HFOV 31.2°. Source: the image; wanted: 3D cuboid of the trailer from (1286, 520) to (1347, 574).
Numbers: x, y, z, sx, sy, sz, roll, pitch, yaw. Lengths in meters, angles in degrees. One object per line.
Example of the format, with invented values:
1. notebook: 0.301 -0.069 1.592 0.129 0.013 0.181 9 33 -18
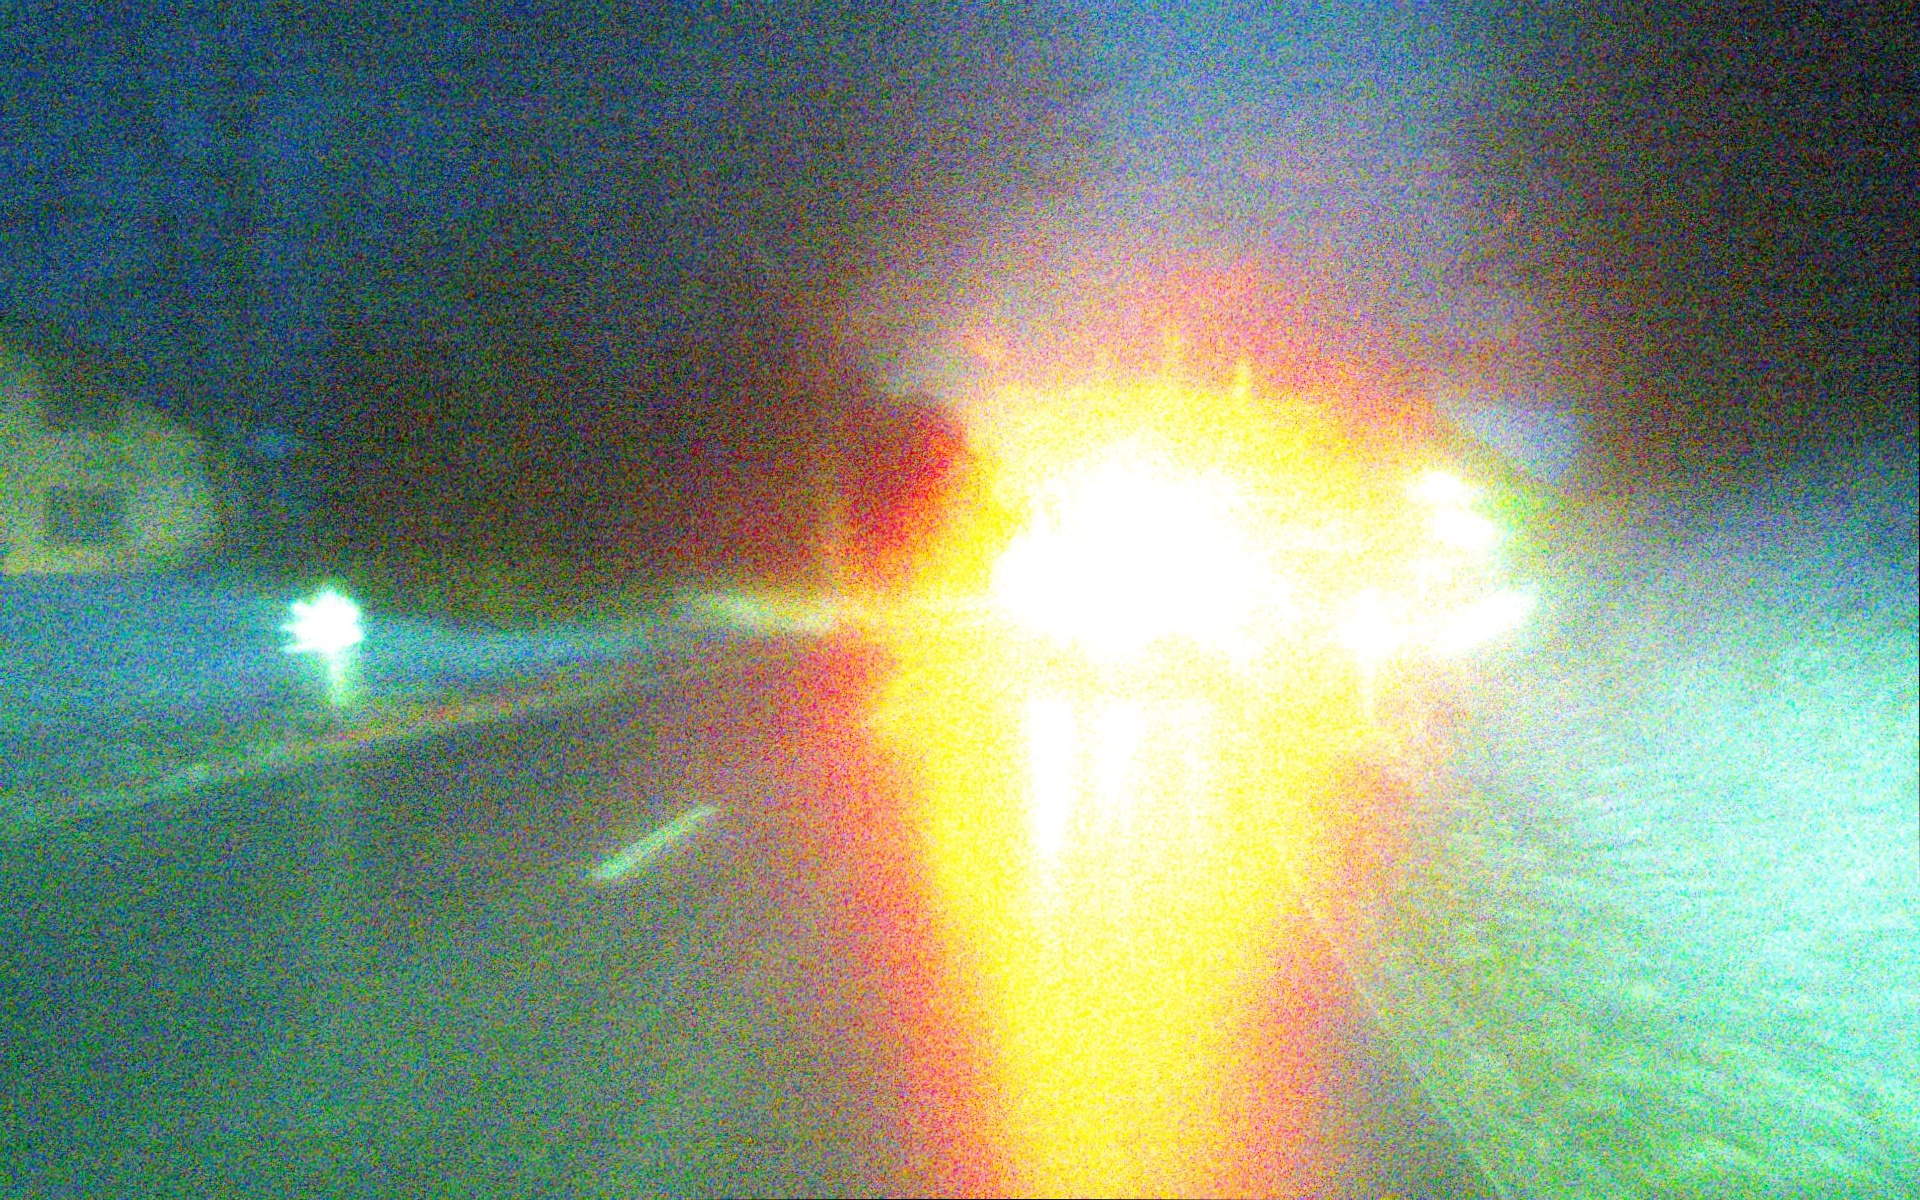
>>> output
1. trailer: 15.851 -2.357 152.984 1.629 2.356 4.654 1 1 -7

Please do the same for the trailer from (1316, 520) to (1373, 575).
1. trailer: 16.536 -2.260 148.072 1.605 2.344 4.432 1 1 -4

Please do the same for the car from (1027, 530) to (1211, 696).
1. car: 1.671 0.092 35.952 1.801 1.623 3.615 -1 1 3
